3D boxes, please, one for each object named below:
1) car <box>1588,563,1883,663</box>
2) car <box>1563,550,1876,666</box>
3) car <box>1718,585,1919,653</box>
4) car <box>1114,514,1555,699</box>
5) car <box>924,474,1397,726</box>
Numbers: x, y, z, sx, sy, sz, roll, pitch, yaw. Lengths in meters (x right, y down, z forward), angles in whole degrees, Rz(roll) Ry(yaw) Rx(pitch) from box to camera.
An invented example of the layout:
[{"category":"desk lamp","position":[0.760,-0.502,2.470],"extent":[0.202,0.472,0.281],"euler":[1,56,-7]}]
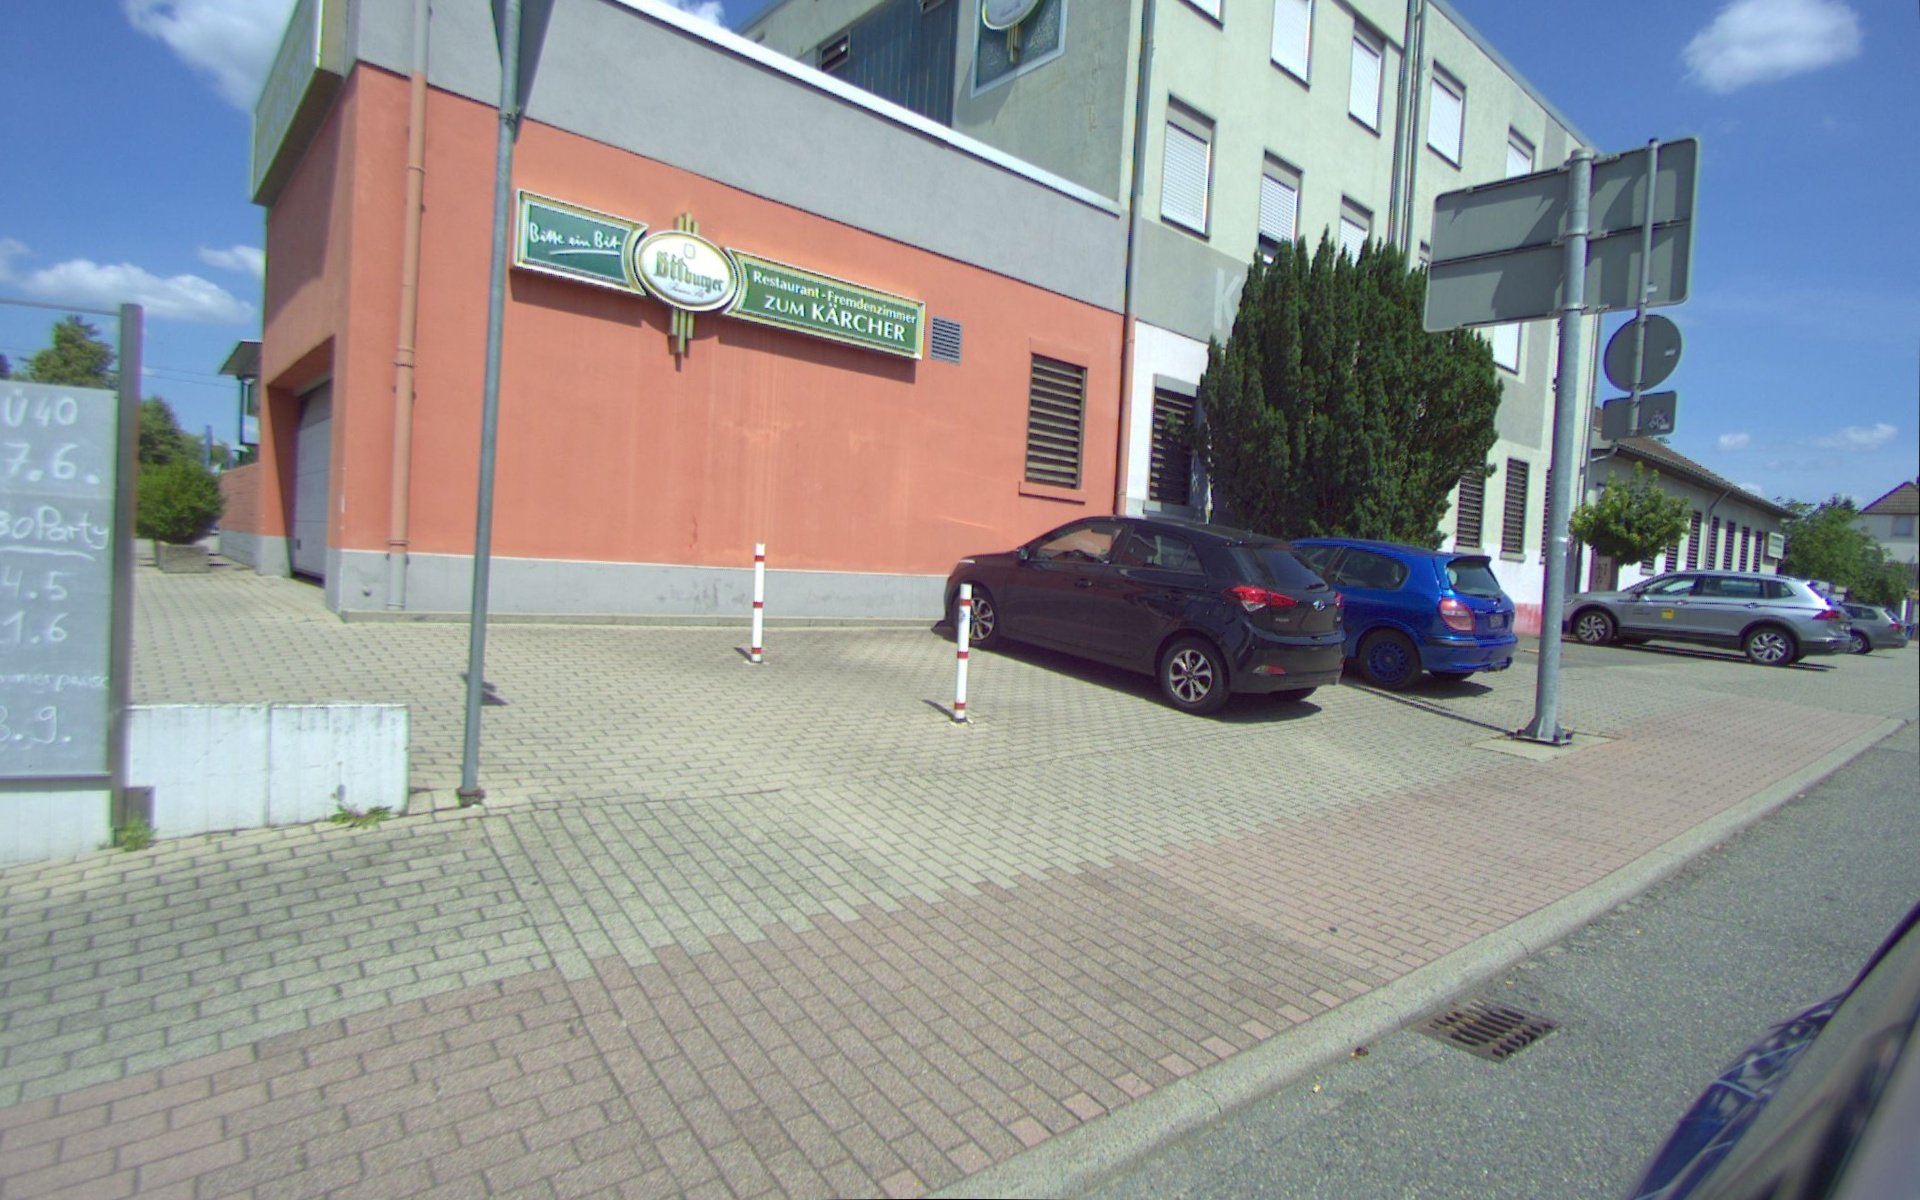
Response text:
[{"category":"car","position":[16.069,0.203,21.176],"extent":[1.965,1.537,4.512],"euler":[2,5,-41]},{"category":"car","position":[14.516,0.069,19.559],"extent":[1.890,1.717,4.463],"euler":[1,5,-42]},{"category":"car","position":[25.593,0.502,30.065],"extent":[1.884,1.471,4.539],"euler":[2,5,-40]},{"category":"car","position":[4.038,-0.097,11.564],"extent":[1.749,1.455,4.335],"euler":[-2,8,-41]},{"category":"car","position":[1.654,-0.175,9.413],"extent":[1.779,1.506,3.908],"euler":[-1,11,-42]}]
